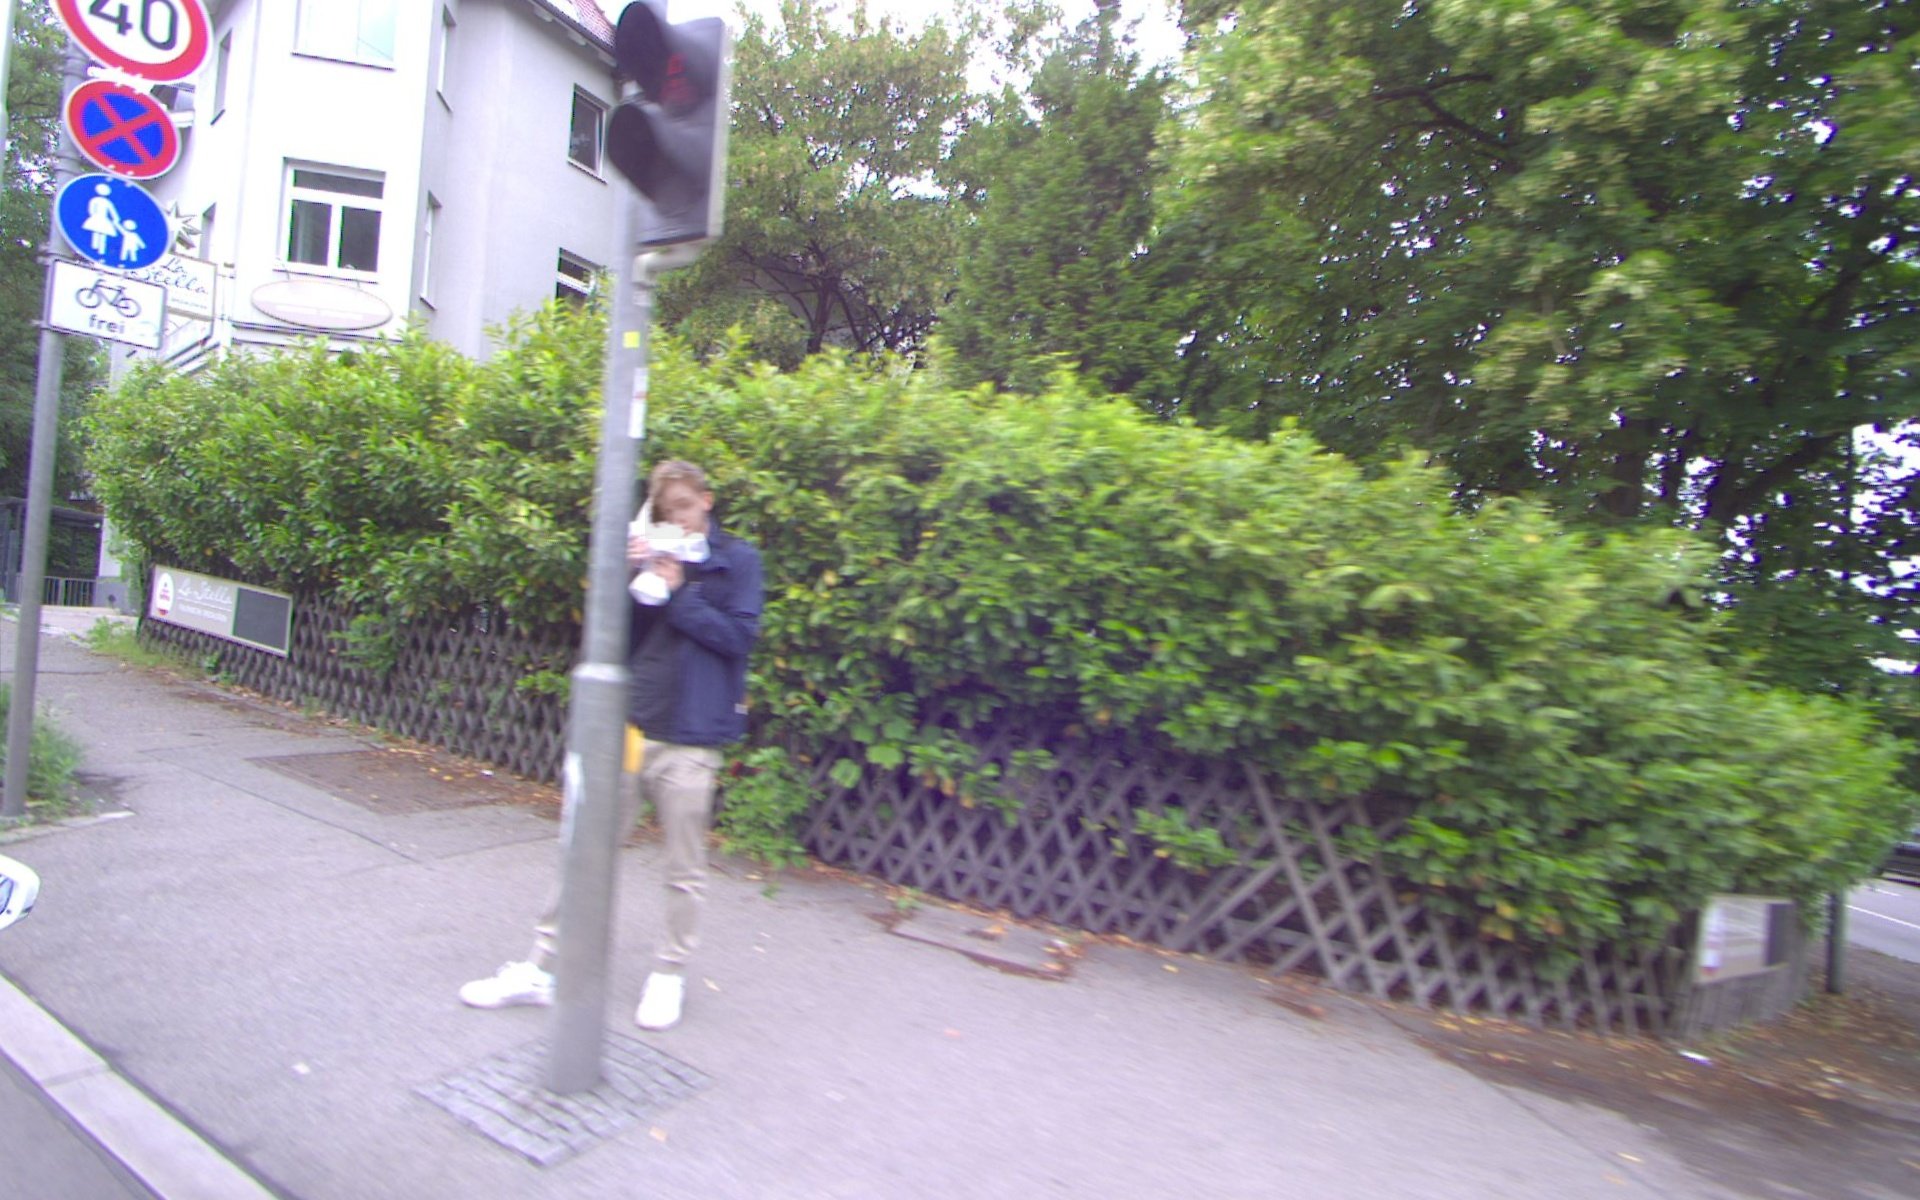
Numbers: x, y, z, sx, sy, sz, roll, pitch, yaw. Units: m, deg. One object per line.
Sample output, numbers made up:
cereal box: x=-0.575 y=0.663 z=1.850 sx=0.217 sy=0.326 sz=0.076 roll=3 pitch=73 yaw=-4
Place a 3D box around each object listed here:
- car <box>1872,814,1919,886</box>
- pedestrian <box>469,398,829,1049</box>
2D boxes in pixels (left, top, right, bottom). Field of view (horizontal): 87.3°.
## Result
car: x=25.290 y=6.554 z=25.301 sx=1.600 sy=1.645 sz=4.514 roll=7 pitch=-4 yaw=17
pedestrian: x=-0.995 y=0.355 z=3.308 sx=0.610 sy=1.855 sz=0.694 roll=6 pitch=-2 yaw=31
